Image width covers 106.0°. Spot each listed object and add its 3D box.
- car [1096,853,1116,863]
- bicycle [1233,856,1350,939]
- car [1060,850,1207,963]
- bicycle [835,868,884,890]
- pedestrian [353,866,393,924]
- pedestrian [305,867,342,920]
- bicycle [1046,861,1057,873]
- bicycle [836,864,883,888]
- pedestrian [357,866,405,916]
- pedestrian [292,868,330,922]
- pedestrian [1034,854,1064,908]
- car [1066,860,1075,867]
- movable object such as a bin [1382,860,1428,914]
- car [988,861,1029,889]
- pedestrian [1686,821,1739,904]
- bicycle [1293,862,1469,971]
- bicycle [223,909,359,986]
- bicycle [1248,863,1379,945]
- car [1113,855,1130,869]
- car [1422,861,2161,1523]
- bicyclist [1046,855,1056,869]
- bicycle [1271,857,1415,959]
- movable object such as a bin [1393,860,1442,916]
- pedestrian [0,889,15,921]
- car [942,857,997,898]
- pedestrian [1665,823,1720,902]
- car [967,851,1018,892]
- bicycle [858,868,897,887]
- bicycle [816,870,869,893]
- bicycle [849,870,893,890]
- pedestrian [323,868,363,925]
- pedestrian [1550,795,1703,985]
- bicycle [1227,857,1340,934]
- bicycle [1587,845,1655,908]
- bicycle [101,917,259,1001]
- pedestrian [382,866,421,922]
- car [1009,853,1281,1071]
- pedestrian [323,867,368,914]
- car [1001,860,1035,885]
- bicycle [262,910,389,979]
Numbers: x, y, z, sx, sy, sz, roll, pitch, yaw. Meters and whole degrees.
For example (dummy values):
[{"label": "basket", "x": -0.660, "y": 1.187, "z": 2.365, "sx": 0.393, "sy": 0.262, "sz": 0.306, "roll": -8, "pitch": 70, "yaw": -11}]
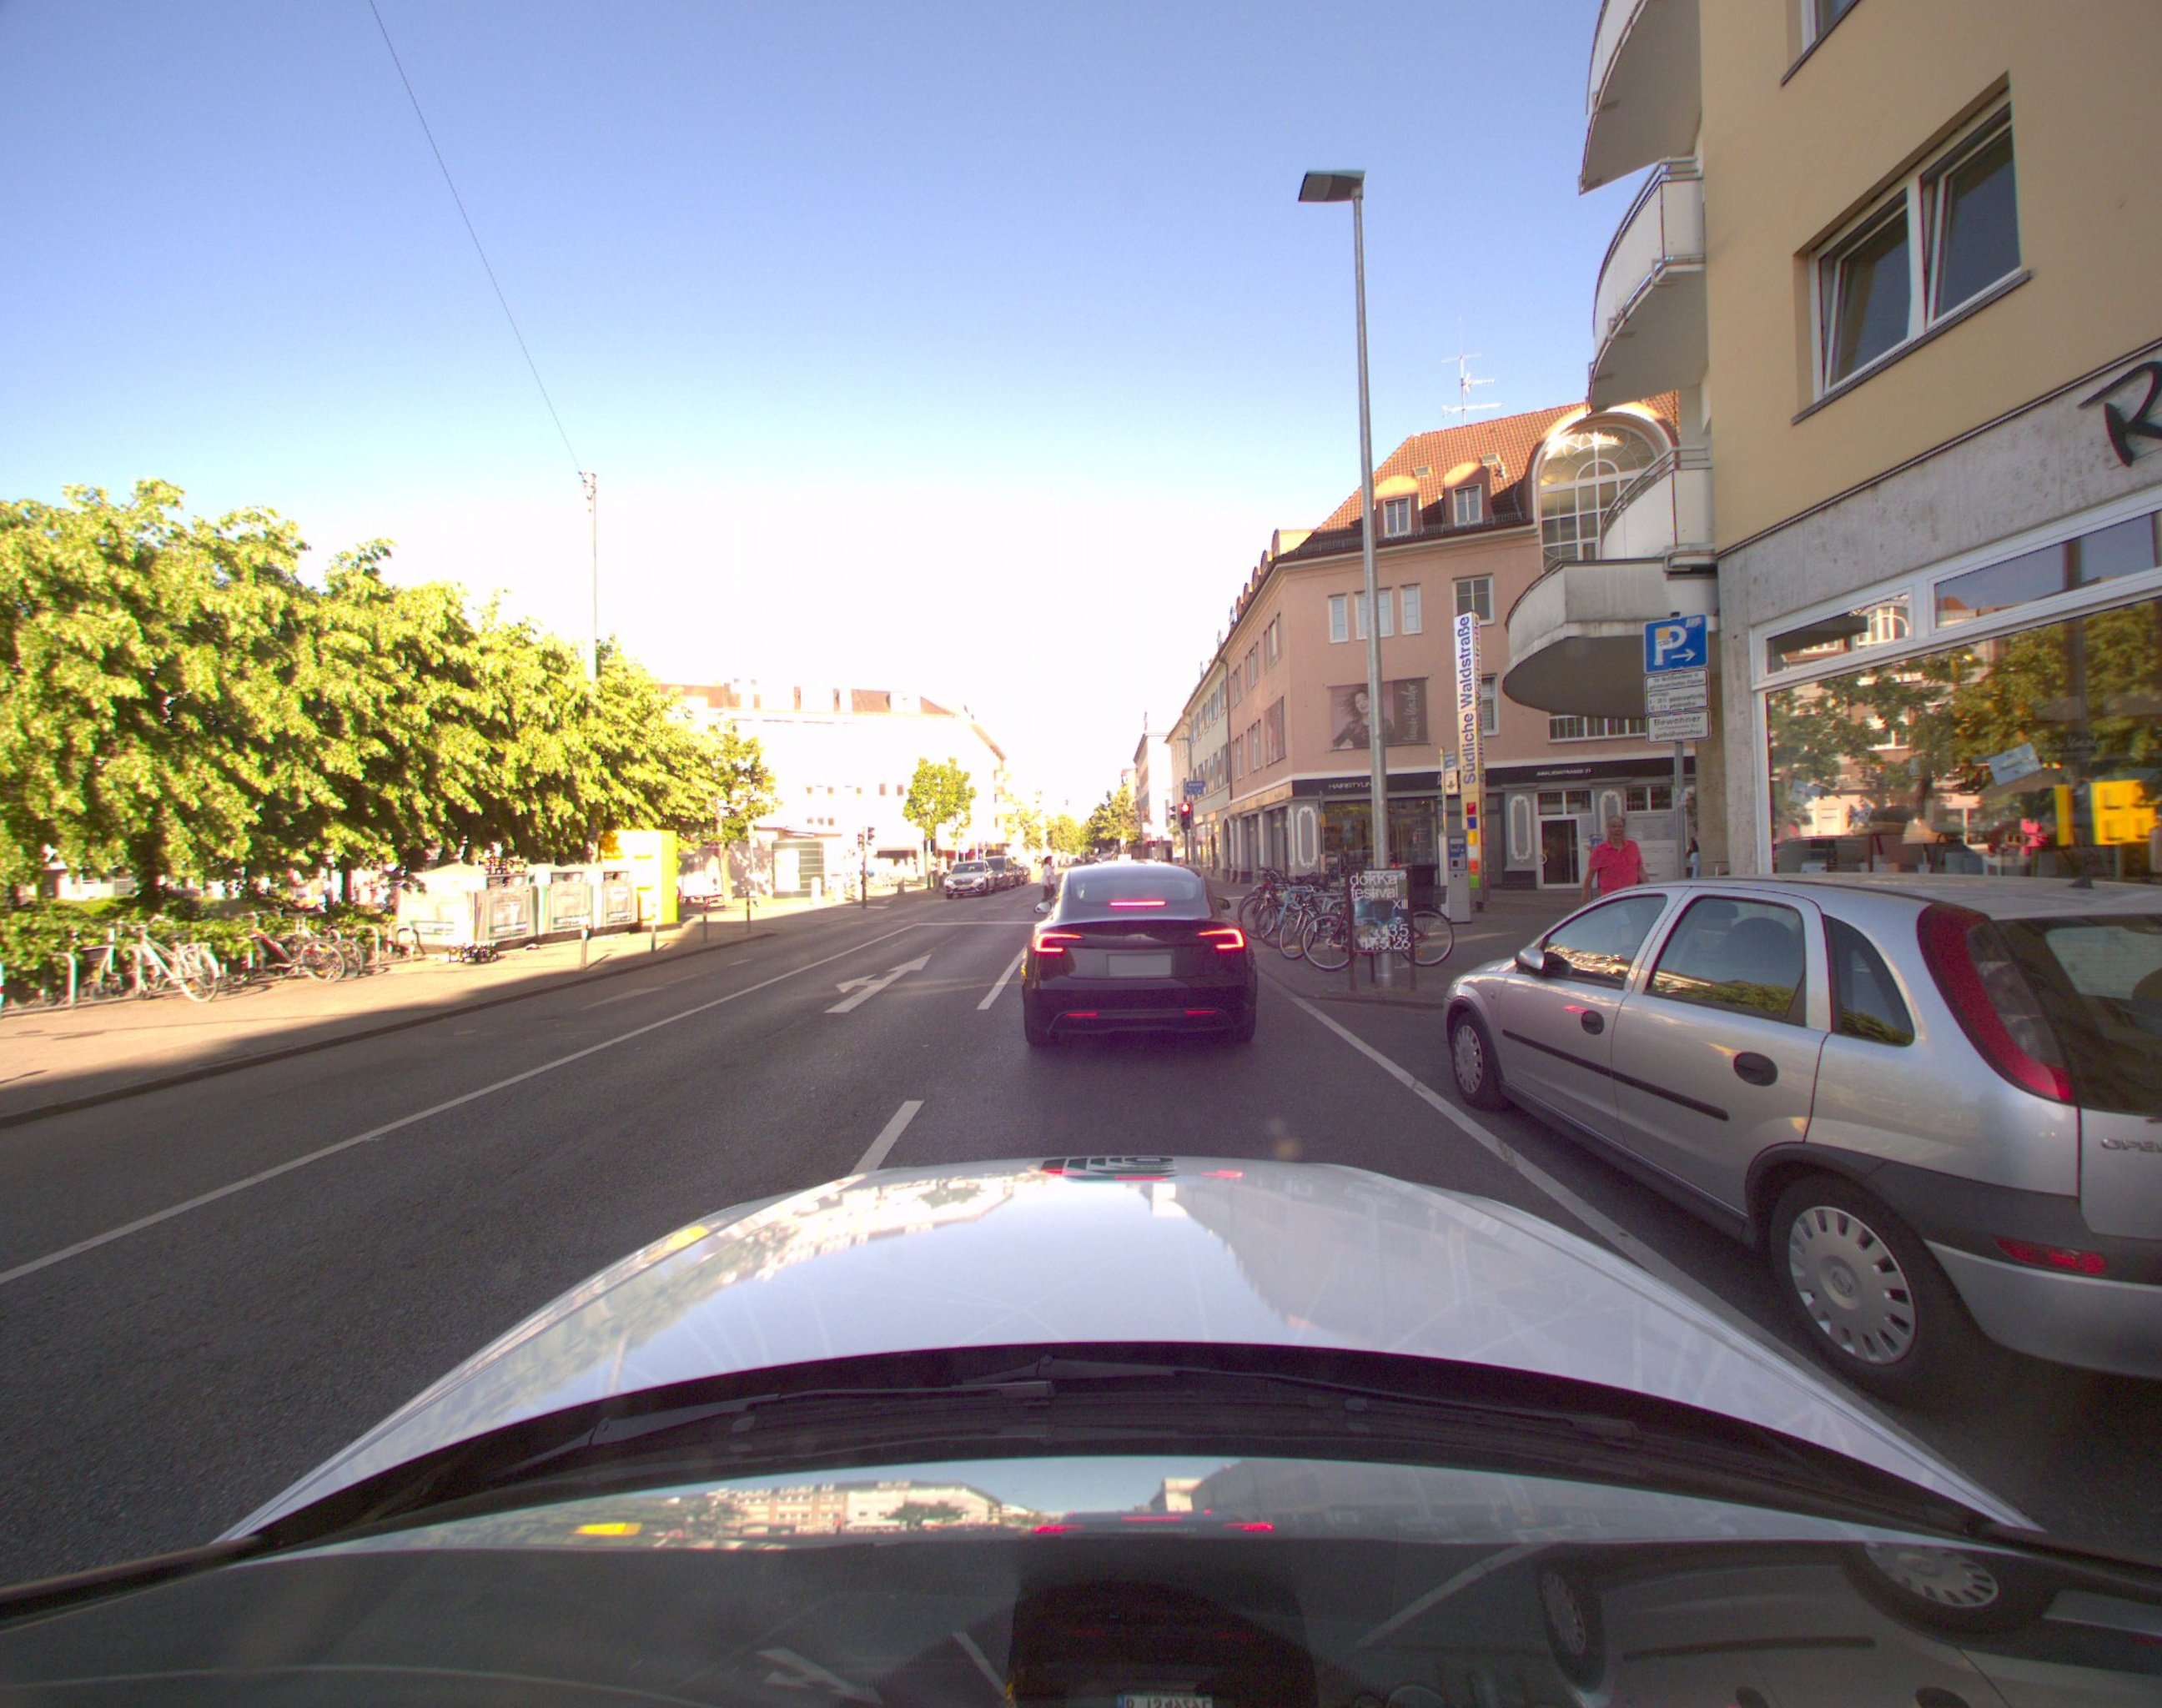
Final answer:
[{"label": "car", "x": 5.128, "y": 0.864, "z": 167.688, "sx": 3.974, "sy": 2.013, "sz": 2.000, "roll": -1, "pitch": 0, "yaw": 0}, {"label": "bicycle", "x": 3.512, "y": 0.712, "z": 13.699, "sx": 1.738, "sy": 1.267, "sz": 0.782, "roll": -3, "pitch": -1, "yaw": 4}, {"label": "car", "x": 0.746, "y": 0.724, "z": 13.327, "sx": 1.987, "sy": 1.512, "sz": 4.175, "roll": -1, "pitch": 0, "yaw": 0}, {"label": "bicycle", "x": -12.370, "y": 1.368, "z": 45.564, "sx": 2.453, "sy": 1.156, "sz": 0.843, "roll": -1, "pitch": 0, "yaw": 0}, {"label": "pedestrian", "x": -25.845, "y": 1.477, "z": 29.718, "sx": 0.980, "sy": 2.013, "sz": 0.910, "roll": -2, "pitch": -1, "yaw": 38}, {"label": "pedestrian", "x": -30.145, "y": 1.558, "z": 32.399, "sx": 0.980, "sy": 2.013, "sz": 0.910, "roll": -2, "pitch": -1, "yaw": 38}, {"label": "bicycle", "x": -3.472, "y": 1.550, "z": 95.802, "sx": 1.108, "sy": 1.344, "sz": 3.998, "roll": -1, "pitch": 0, "yaw": -1}, {"label": "bicycle", "x": -12.900, "y": 1.248, "z": 47.510, "sx": 2.472, "sy": 1.324, "sz": 0.921, "roll": -1, "pitch": 0, "yaw": -4}, {"label": "pedestrian", "x": -29.117, "y": 1.525, "z": 33.892, "sx": 1.272, "sy": 2.013, "sz": 0.908, "roll": -1, "pitch": 0, "yaw": 13}, {"label": "pedestrian", "x": -29.636, "y": 1.563, "z": 31.330, "sx": 0.980, "sy": 2.013, "sz": 0.910, "roll": -2, "pitch": -1, "yaw": 38}, {"label": "pedestrian", "x": -0.956, "y": 0.791, "z": 24.016, "sx": 0.747, "sy": 1.552, "sz": 0.696, "roll": -1, "pitch": 0, "yaw": -12}, {"label": "car", "x": -2.478, "y": 2.178, "z": 187.384, "sx": 1.988, "sy": 1.637, "sz": 3.998, "roll": -1, "pitch": 0, "yaw": -1}, {"label": "movable object such as a bin", "x": 6.758, "y": 0.678, "z": 16.994, "sx": 0.730, "sy": 1.092, "sz": 0.628, "roll": 0, "pitch": -1, "yaw": 3}, {"label": "car", "x": -4.356, "y": 1.236, "z": 49.694, "sx": 1.988, "sy": 1.410, "sz": 4.672, "roll": -5, "pitch": 0, "yaw": -1}, {"label": "pedestrian", "x": 13.358, "y": 0.173, "z": 17.251, "sx": 0.700, "sy": 1.713, "sz": 0.743, "roll": -1, "pitch": 0, "yaw": 25}, {"label": "bicycle", "x": 3.644, "y": 0.752, "z": 10.031, "sx": 1.876, "sy": 1.193, "sz": 0.693, "roll": -3, "pitch": 0, "yaw": 7}, {"label": "bicycle", "x": -11.313, "y": 1.333, "z": 11.683, "sx": 1.561, "sy": 1.023, "sz": 0.430, "roll": -1, "pitch": 0, "yaw": 3}, {"label": "bicycle", "x": 3.528, "y": 0.755, "z": 12.519, "sx": 1.788, "sy": 1.124, "sz": 0.783, "roll": -3, "pitch": -1, "yaw": 7}, {"label": "car", "x": 4.944, "y": 0.960, "z": 100.802, "sx": 1.986, "sy": 1.629, "sz": 4.002, "roll": -1, "pitch": 0, "yaw": 2}, {"label": "car", "x": 2.975, "y": 0.732, "z": 3.537, "sx": 1.607, "sy": 1.382, "sz": 3.645, "roll": 0, "pitch": 0, "yaw": 2}, {"label": "bicyclist", "x": -3.498, "y": 0.935, "z": 95.898, "sx": 1.123, "sy": 1.628, "sz": 0.965, "roll": -1, "pitch": 0, "yaw": -1}, {"label": "bicycle", "x": 3.547, "y": 0.726, "z": 11.166, "sx": 1.713, "sy": 1.268, "sz": 0.792, "roll": -3, "pitch": -1, "yaw": 7}, {"label": "movable object such as a bin", "x": 6.749, "y": 0.673, "z": 16.357, "sx": 0.749, "sy": 1.092, "sz": 0.628, "roll": 0, "pitch": -1, "yaw": 3}, {"label": "pedestrian", "x": -68.749, "y": 3.241, "z": 51.848, "sx": 1.385, "sy": 2.013, "sz": 0.910, "roll": -2, "pitch": 0, "yaw": 44}, {"label": "car", "x": -4.937, "y": 0.994, "z": 36.594, "sx": 1.802, "sy": 1.555, "sz": 4.308, "roll": -5, "pitch": 0, "yaw": -1}, {"label": "pedestrian", "x": 13.589, "y": 0.198, "z": 18.122, "sx": 0.771, "sy": 1.683, "sz": 0.832, "roll": -4, "pitch": -2, "yaw": 29}, {"label": "car", "x": -4.563, "y": 0.863, "z": 42.873, "sx": 1.827, "sy": 1.845, "sz": 4.677, "roll": -5, "pitch": 0, "yaw": 2}, {"label": "bicycle", "x": -13.159, "y": 1.519, "z": 52.704, "sx": 2.318, "sy": 1.156, "sz": 0.841, "roll": -1, "pitch": 0, "yaw": -4}, {"label": "bicycle", "x": -12.576, "y": 1.440, "z": 43.034, "sx": 2.497, "sy": 1.156, "sz": 0.843, "roll": -1, "pitch": 0, "yaw": 0}, {"label": "bicycle", "x": -12.943, "y": 1.574, "z": 50.269, "sx": 2.528, "sy": 1.156, "sz": 0.841, "roll": -1, "pitch": 0, "yaw": -4}, {"label": "pedestrian", "x": -26.967, "y": 1.531, "z": 29.747, "sx": 0.980, "sy": 2.013, "sz": 0.910, "roll": -2, "pitch": -1, "yaw": 38}, {"label": "pedestrian", "x": 5.568, "y": 0.356, "z": 8.393, "sx": 0.859, "sy": 1.784, "sz": 1.011, "roll": -4, "pitch": -1, "yaw": 10}, {"label": "bicycle", "x": 3.628, "y": 0.741, "z": 14.728, "sx": 1.851, "sy": 1.258, "sz": 0.834, "roll": -3, "pitch": -1, "yaw": 7}, {"label": "bicycle", "x": 11.058, "y": 0.433, "z": 16.743, "sx": 0.653, "sy": 1.199, "sz": 2.223, "roll": -2, "pitch": 0, "yaw": 21}, {"label": "bicycle", "x": -11.449, "y": 1.328, "z": 10.364, "sx": 1.590, "sy": 1.018, "sz": 0.430, "roll": -1, "pitch": 0, "yaw": 3}, {"label": "pedestrian", "x": -25.363, "y": 1.475, "z": 30.400, "sx": 0.980, "sy": 2.013, "sz": 0.910, "roll": -2, "pitch": -1, "yaw": 38}, {"label": "car", "x": 0.504, "y": 0.758, "z": 7.619, "sx": 1.841, "sy": 1.455, "sz": 4.001, "roll": -1, "pitch": 0, "yaw": 2}, {"label": "pedestrian", "x": -32.317, "y": 1.593, "z": 35.802, "sx": 1.208, "sy": 2.013, "sz": 0.908, "roll": -1, "pitch": 0, "yaw": 14}, {"label": "car", "x": -4.387, "y": 1.262, "z": 57.291, "sx": 1.988, "sy": 1.436, "sz": 4.672, "roll": -5, "pitch": 0, "yaw": -1}, {"label": "bicycle", "x": -11.322, "y": 1.355, "z": 12.226, "sx": 1.517, "sy": 0.958, "sz": 0.431, "roll": -1, "pitch": 1, "yaw": 3}]
